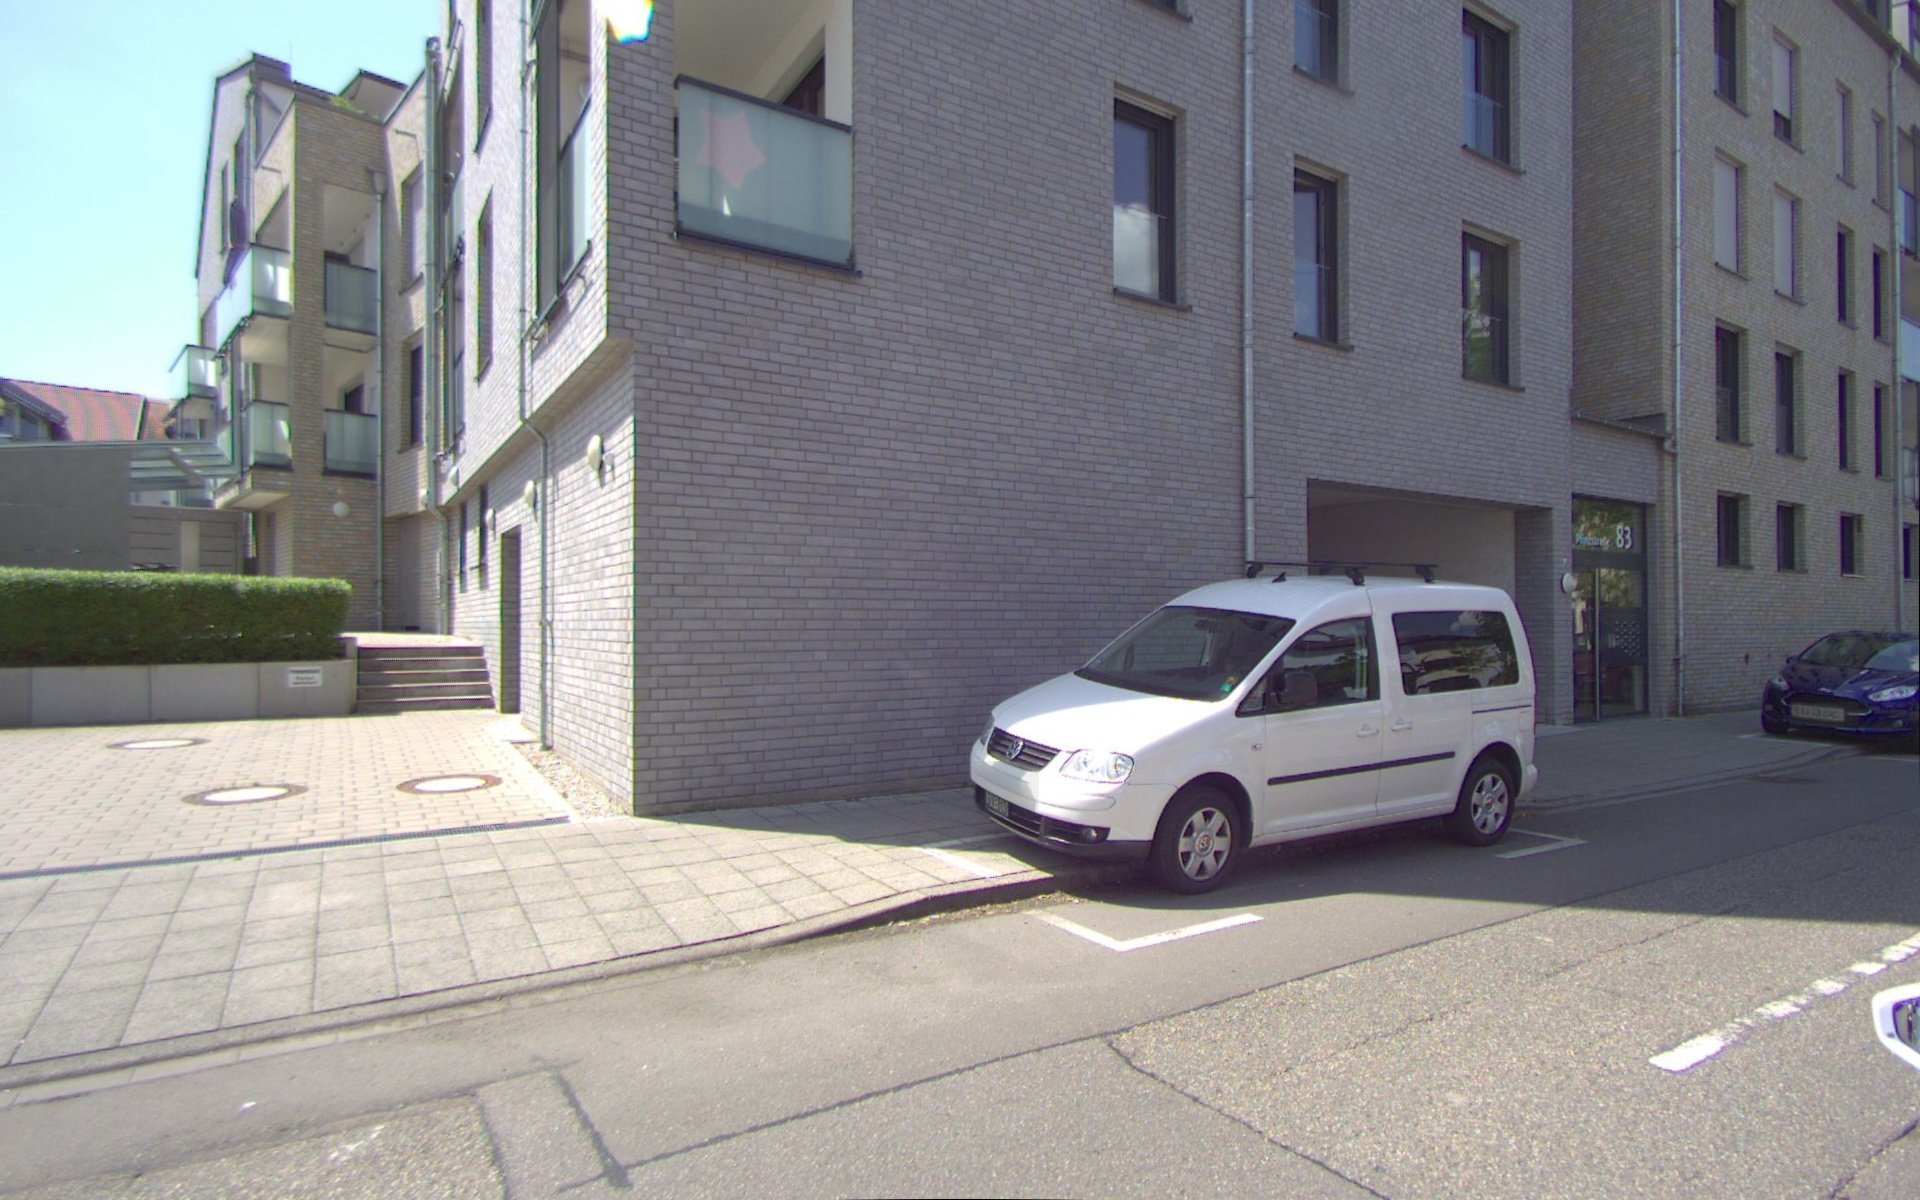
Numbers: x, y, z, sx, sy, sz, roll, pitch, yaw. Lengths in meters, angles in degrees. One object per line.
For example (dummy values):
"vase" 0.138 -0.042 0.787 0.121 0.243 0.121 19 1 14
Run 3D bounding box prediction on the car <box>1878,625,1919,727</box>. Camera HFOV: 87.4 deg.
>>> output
"car" 16.549 1.207 16.354 3.533 1.574 1.581 1 -1 -34

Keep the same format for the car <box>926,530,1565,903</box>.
"car" 2.068 0.608 6.982 4.284 1.917 1.749 1 1 -29

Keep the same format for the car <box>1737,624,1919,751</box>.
"car" 12.590 1.105 13.839 3.961 1.475 1.713 1 0 -32
